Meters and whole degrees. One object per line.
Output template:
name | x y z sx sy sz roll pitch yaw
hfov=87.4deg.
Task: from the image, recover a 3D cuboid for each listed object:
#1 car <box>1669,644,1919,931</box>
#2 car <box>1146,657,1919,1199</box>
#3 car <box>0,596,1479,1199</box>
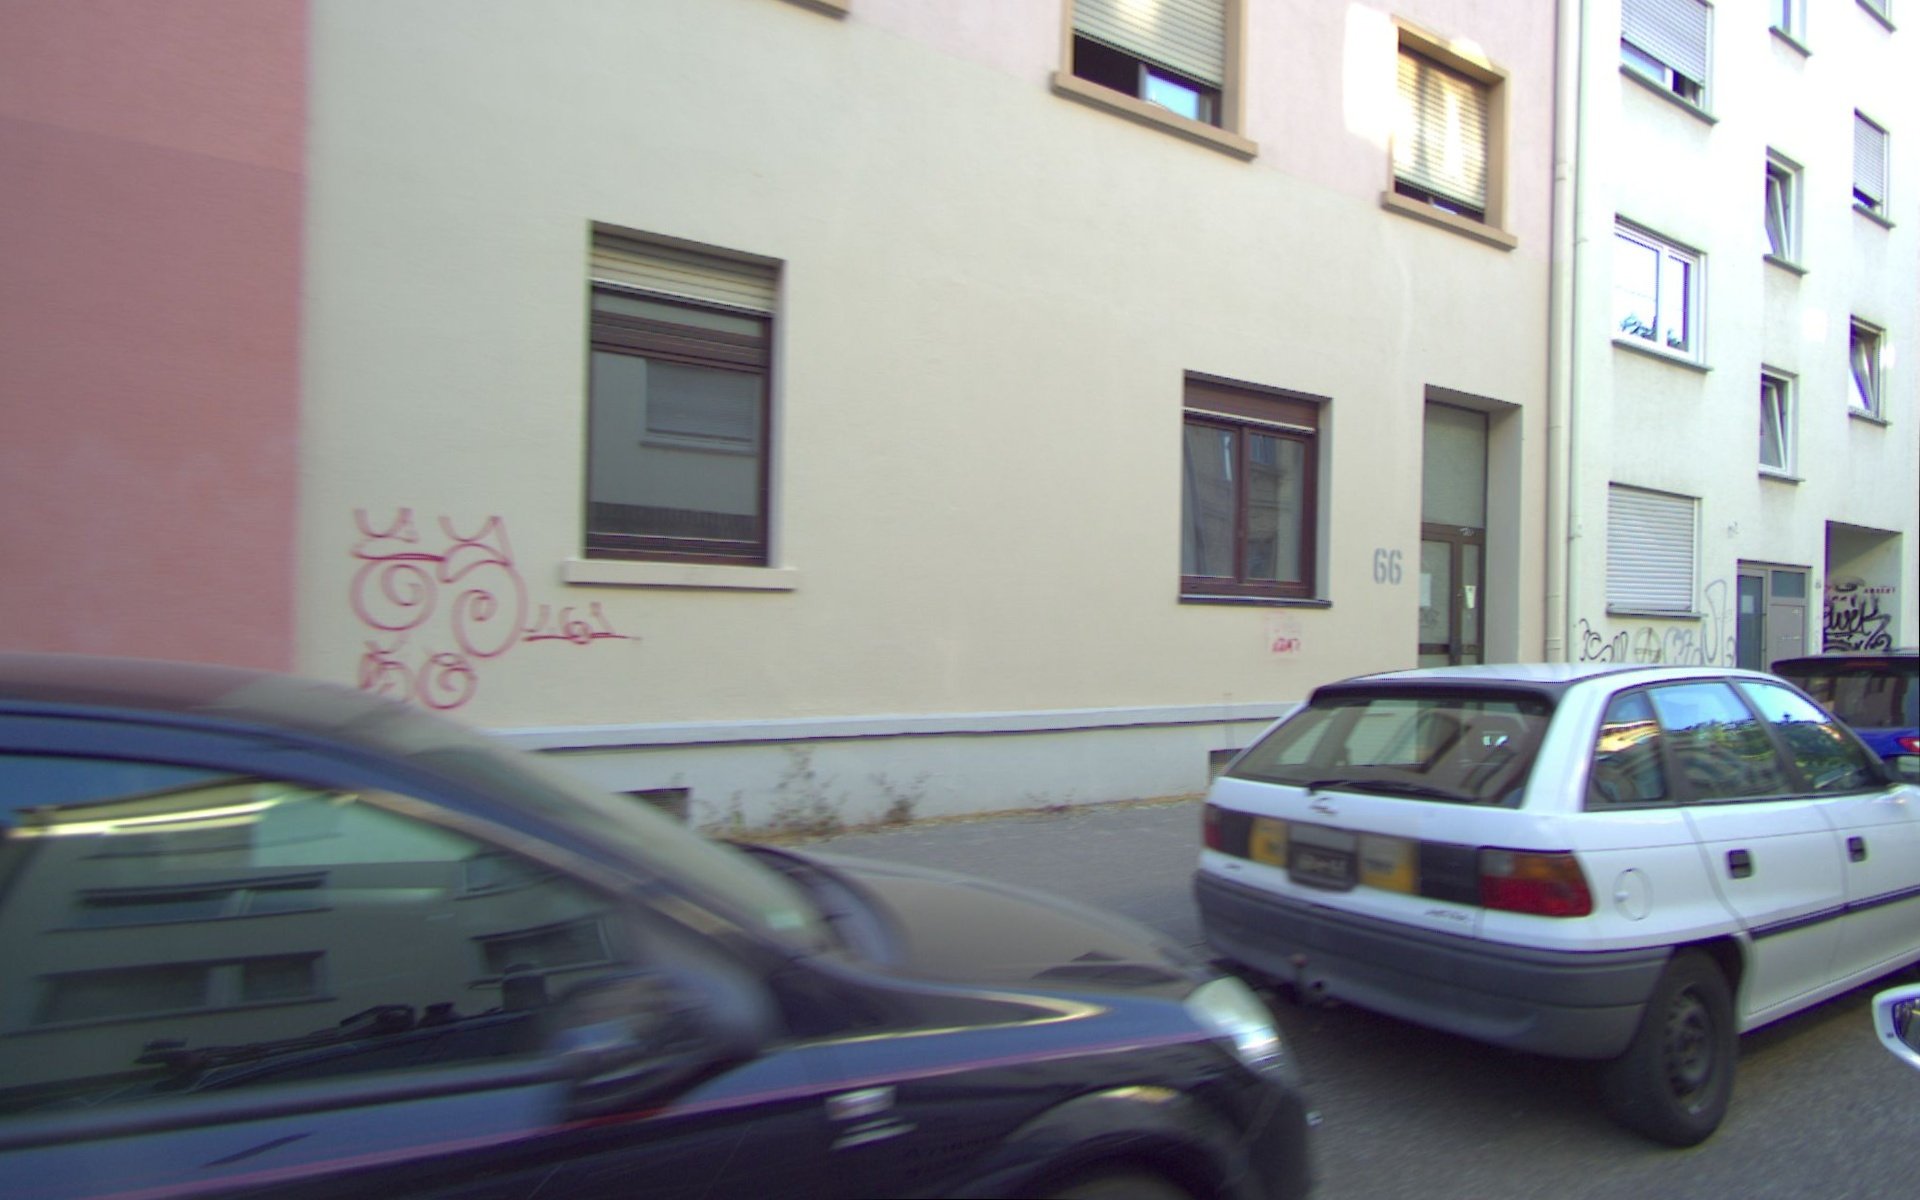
car | 6.675 1.049 6.518 3.938 1.505 1.669 1 -2 -25
car | 2.924 0.968 4.334 4.133 1.406 1.665 2 -3 -31
car | -1.279 0.789 1.675 4.293 1.526 1.736 2 -3 -29
